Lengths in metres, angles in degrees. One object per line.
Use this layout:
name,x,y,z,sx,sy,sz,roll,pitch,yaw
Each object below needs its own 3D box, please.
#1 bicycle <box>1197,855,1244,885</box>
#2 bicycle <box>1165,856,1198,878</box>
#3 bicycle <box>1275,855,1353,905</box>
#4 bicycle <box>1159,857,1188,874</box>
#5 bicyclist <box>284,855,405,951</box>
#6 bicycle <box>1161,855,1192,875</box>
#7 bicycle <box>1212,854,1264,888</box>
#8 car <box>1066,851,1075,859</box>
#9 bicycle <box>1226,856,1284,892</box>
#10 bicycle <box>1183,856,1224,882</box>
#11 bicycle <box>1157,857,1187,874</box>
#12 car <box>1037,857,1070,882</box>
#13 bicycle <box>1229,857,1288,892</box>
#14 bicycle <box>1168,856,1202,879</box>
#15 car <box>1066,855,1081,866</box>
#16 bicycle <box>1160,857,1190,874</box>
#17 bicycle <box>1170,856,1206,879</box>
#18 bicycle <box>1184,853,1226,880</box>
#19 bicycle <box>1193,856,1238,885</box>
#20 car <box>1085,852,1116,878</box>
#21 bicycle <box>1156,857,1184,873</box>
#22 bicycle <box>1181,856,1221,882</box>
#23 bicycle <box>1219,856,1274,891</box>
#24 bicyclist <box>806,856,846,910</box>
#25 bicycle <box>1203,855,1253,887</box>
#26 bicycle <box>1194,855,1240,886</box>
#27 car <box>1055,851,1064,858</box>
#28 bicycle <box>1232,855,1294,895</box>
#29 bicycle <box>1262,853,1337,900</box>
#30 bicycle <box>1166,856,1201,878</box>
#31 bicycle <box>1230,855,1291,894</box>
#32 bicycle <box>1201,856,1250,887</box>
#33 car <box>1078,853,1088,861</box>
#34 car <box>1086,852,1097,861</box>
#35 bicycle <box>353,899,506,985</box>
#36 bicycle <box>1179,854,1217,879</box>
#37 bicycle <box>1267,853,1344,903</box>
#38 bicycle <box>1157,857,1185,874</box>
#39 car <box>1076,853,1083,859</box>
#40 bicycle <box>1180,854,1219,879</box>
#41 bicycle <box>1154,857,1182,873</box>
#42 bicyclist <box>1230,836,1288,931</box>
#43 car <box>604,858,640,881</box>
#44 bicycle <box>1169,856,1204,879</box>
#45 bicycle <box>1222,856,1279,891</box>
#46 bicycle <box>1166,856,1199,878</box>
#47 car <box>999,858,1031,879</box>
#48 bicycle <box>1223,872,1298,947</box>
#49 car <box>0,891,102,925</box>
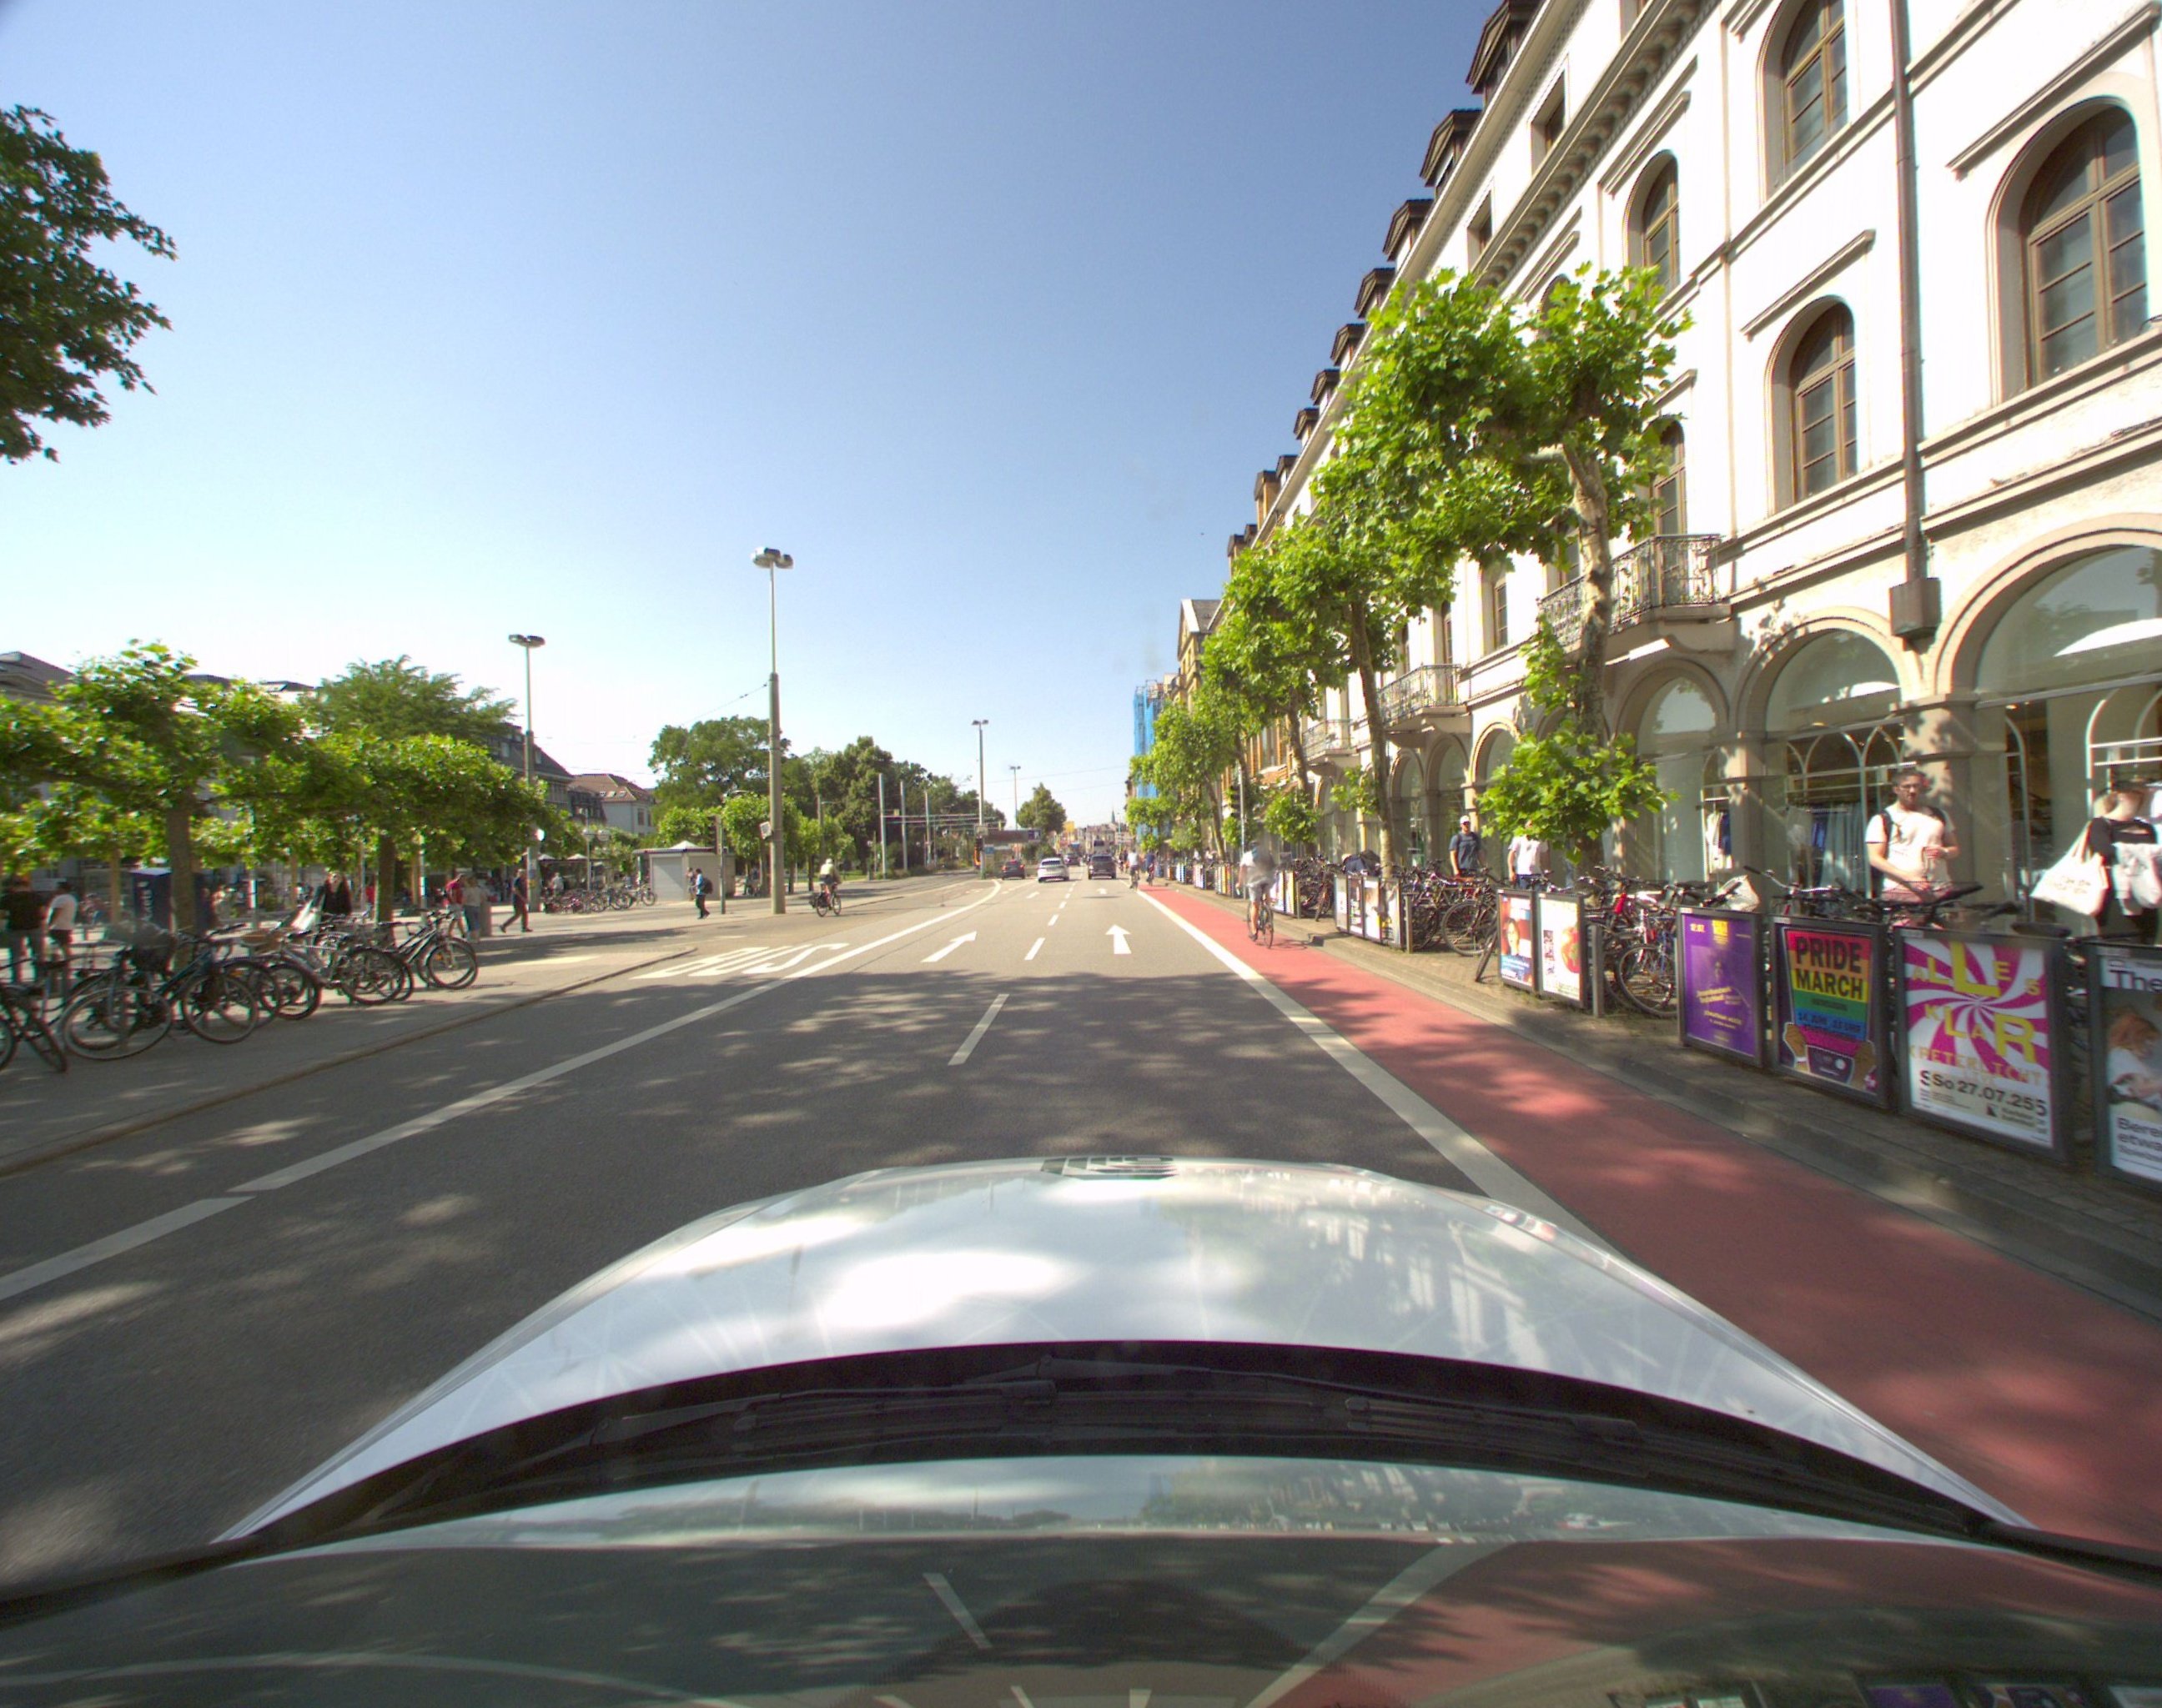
bicycle,5.524,0.636,32.228,1.748,1.147,0.482,-1,0,-2
bicycle,5.523,0.691,44.845,1.748,1.147,0.482,-1,0,-2
bicycle,5.666,0.624,19.815,1.748,1.147,0.482,-1,0,-2
bicycle,5.700,0.710,50.248,1.712,0.985,0.482,-1,0,-2
bicyclist,-11.801,0.760,13.082,1.153,1.498,0.832,0,0,1
bicycle,5.636,0.647,48.301,1.748,1.147,0.482,-1,0,-2
bicycle,5.598,0.606,29.142,1.748,1.147,0.482,-1,0,-2
car,-1.763,0.114,135.358,1.446,1.300,4.001,0,0,1
bicycle,5.608,0.646,26.304,1.748,1.087,0.482,-1,0,-2
bicycle,5.535,0.672,36.845,1.748,1.147,0.482,-1,0,-2
bicycle,5.700,0.714,51.075,1.748,1.018,0.482,-1,0,-2
car,-1.680,0.915,51.102,1.852,1.507,4.001,0,0,1
bicycle,5.620,0.643,25.796,1.748,1.068,0.482,-1,0,-2
bicycle,5.525,0.720,43.368,1.748,1.147,0.482,-1,0,-2
car,-0.919,0.857,105.082,1.809,1.332,4.001,0,0,1
bicycle,5.698,0.697,49.590,1.748,1.018,0.482,-1,0,-2
bicycle,5.551,0.692,42.358,1.748,1.147,0.482,-1,0,-2
bicycle,5.511,0.572,36.272,1.748,1.147,0.499,-1,0,-2
bicycle,5.516,0.667,33.447,1.748,1.123,0.482,-1,0,-2
car,1.254,0.673,52.248,1.867,1.492,4.001,-2,0,1
bicycle,5.756,0.717,52.699,1.748,1.018,0.482,-1,0,-2
bicycle,5.592,0.677,37.884,1.748,1.147,0.482,-1,0,-2
bicycle,5.563,0.649,27.403,1.748,1.147,0.482,-1,0,-2
bicyclist,-8.078,0.907,25.815,0.813,1.622,0.904,-3,1,7
bicycle,5.491,0.630,30.474,1.748,1.147,0.482,-1,0,-2
bicycle,5.488,0.667,32.822,1.748,1.187,0.482,-1,0,-2
car,-4.027,0.041,152.905,1.446,1.300,4.001,0,0,1
bicycle,5.524,0.641,24.739,1.748,1.147,0.482,-1,0,-2
bicycle,5.614,0.574,20.982,1.769,1.147,0.482,-1,0,-2
bicycle,5.515,0.698,43.869,1.748,1.147,0.482,-1,0,-2
bicycle,5.554,0.643,25.253,1.748,1.147,0.482,-1,0,-2
bicycle,5.526,0.660,31.096,1.748,1.147,0.527,-1,0,-2
car,0.312,0.440,123.780,1.448,1.300,3.339,0,0,-2
car,1.422,0.330,110.986,1.448,1.300,3.339,0,0,-2
bicycle,-9.353,1.251,11.720,1.748,1.147,0.482,-1,0,-2
bicycle,5.590,0.580,38.900,1.748,1.147,0.482,-1,0,-2
bicycle,5.621,0.587,20.437,1.794,1.194,0.482,-1,0,-2
bicycle,5.760,0.714,52.126,1.748,1.018,0.482,-1,0,-2
car,-0.407,0.462,175.286,1.447,1.300,3.341,0,0,0
bicycle,5.593,0.583,38.387,1.748,1.147,0.482,-1,0,-2
bicycle,5.695,0.721,53.242,1.748,1.018,0.482,-1,0,-2
bicyclist,2.863,0.456,13.182,0.686,1.463,1.142,0,0,-1
car,-68.010,2.218,120.765,2.120,3.316,5.419,0,0,0
bicycle,5.539,0.695,42.868,1.748,1.147,0.482,-1,0,-2
bicycle,5.575,0.649,26.873,1.748,1.105,0.482,-1,0,-2
bicycle,5.519,0.699,44.348,1.748,1.147,0.482,-1,0,-2
car,-4.913,1.037,60.969,1.986,1.508,4.001,0,0,1
bicycle,2.884,0.853,13.338,0.732,1.093,2.129,0,0,-1
car,-53.704,2.759,42.004,1.753,1.508,3.992,0,0,-5
